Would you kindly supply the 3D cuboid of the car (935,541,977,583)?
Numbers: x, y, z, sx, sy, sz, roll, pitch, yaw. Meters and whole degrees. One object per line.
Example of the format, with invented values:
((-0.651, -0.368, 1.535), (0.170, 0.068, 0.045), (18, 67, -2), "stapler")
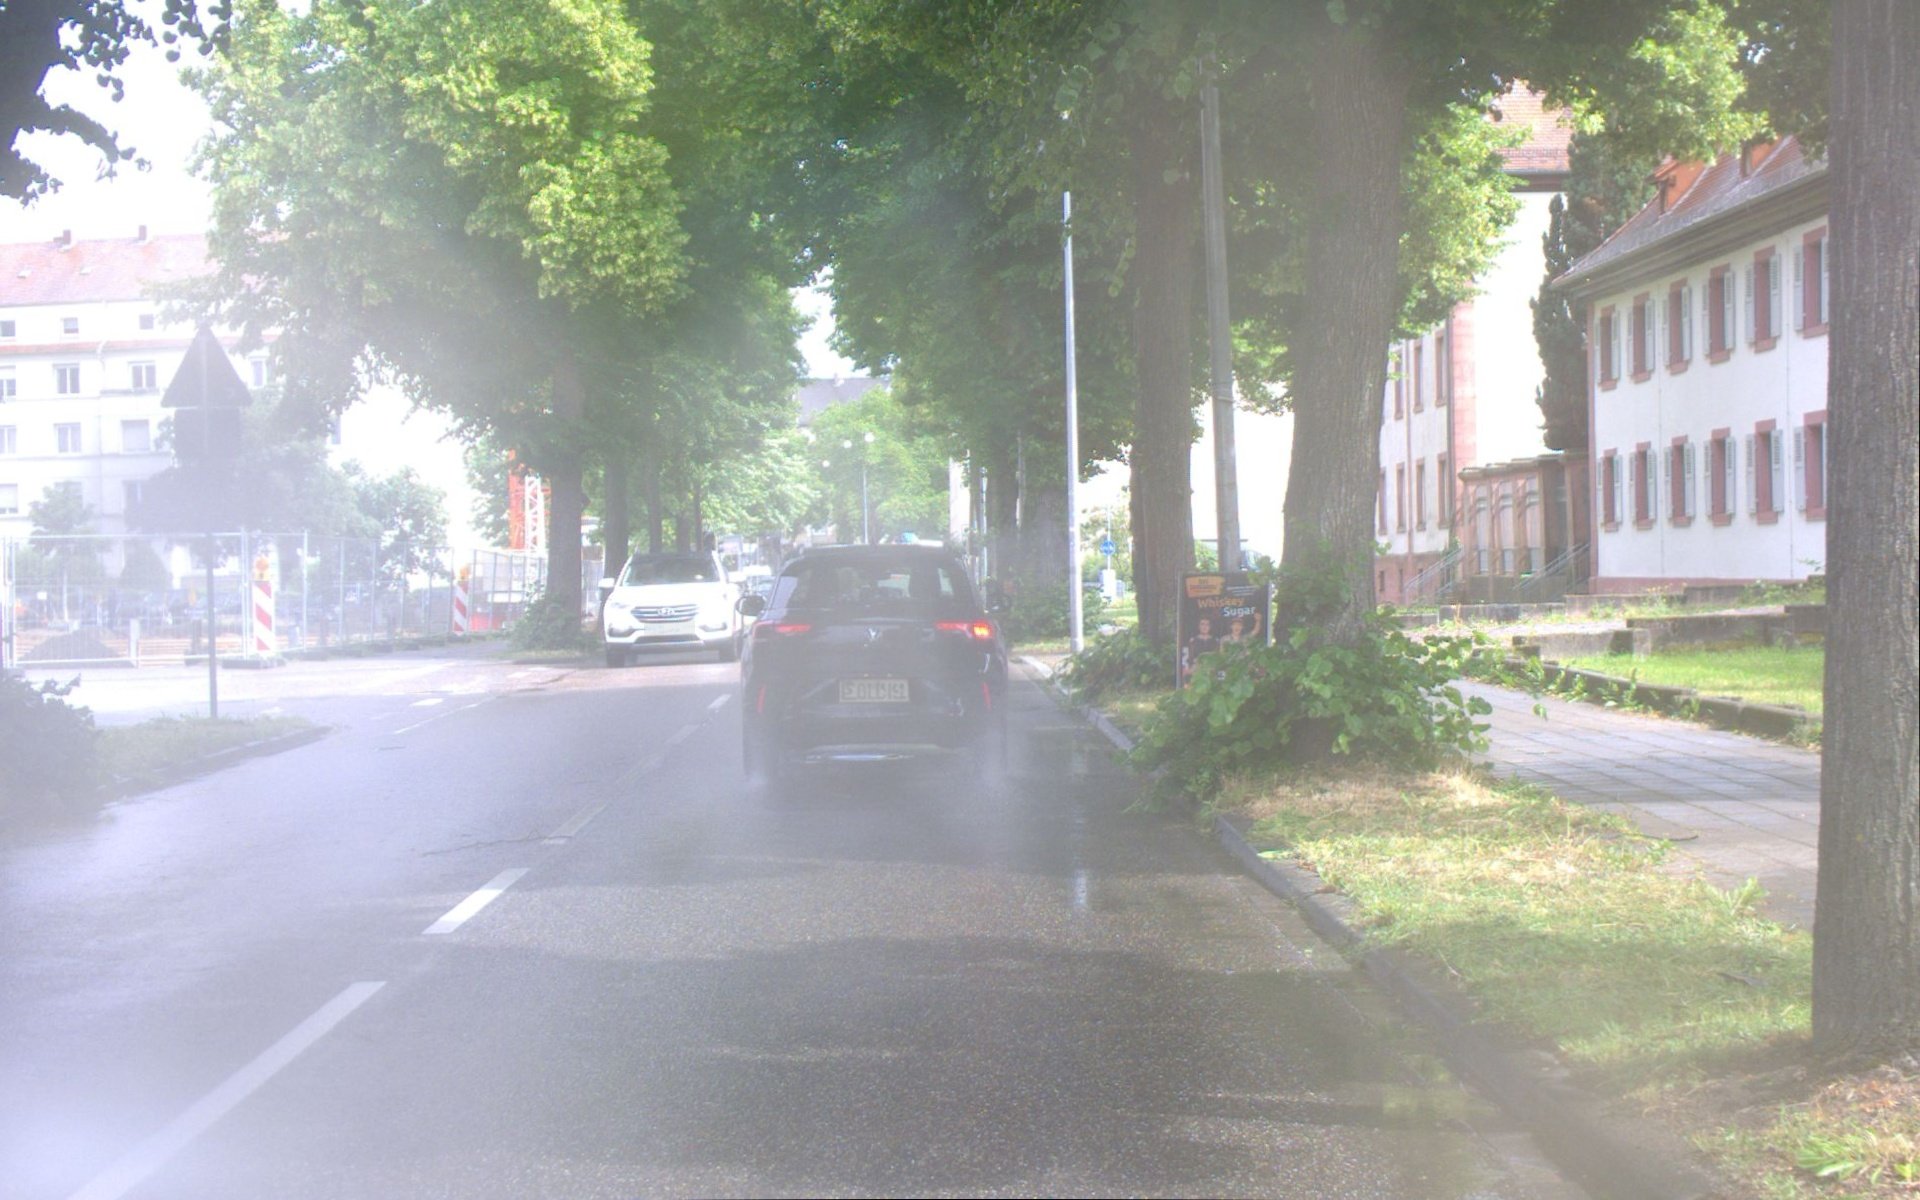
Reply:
((-0.196, -2.033, 186.431), (1.994, 2.007, 3.999), (-2, -3, 3), "car")

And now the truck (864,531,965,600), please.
((-1.880, -1.405, 137.260), (2.804, 2.647, 8.243), (-1, 1, -9), "truck")

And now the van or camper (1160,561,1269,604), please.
((11.724, -0.801, 158.427), (4.874, 1.919, 2.131), (0, 1, 0), "van or camper")

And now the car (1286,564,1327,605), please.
((15.549, -0.696, 154.393), (1.743, 1.678, 3.869), (-4, 0, 5), "car")

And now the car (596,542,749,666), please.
((-4.197, 0.031, 50.798), (1.886, 1.708, 4.230), (-2, 1, 0), "car")

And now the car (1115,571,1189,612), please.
((9.496, -0.422, 169.853), (3.408, 1.775, 1.759), (-4, 0, 8), "car")

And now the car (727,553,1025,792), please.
((-0.611, 0.450, 24.013), (1.894, 1.517, 4.000), (0, 0, -2), "car")

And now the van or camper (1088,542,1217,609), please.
((7.879, -1.009, 141.094), (5.032, 2.587, 2.168), (-2, 0, -2), "van or camper")
